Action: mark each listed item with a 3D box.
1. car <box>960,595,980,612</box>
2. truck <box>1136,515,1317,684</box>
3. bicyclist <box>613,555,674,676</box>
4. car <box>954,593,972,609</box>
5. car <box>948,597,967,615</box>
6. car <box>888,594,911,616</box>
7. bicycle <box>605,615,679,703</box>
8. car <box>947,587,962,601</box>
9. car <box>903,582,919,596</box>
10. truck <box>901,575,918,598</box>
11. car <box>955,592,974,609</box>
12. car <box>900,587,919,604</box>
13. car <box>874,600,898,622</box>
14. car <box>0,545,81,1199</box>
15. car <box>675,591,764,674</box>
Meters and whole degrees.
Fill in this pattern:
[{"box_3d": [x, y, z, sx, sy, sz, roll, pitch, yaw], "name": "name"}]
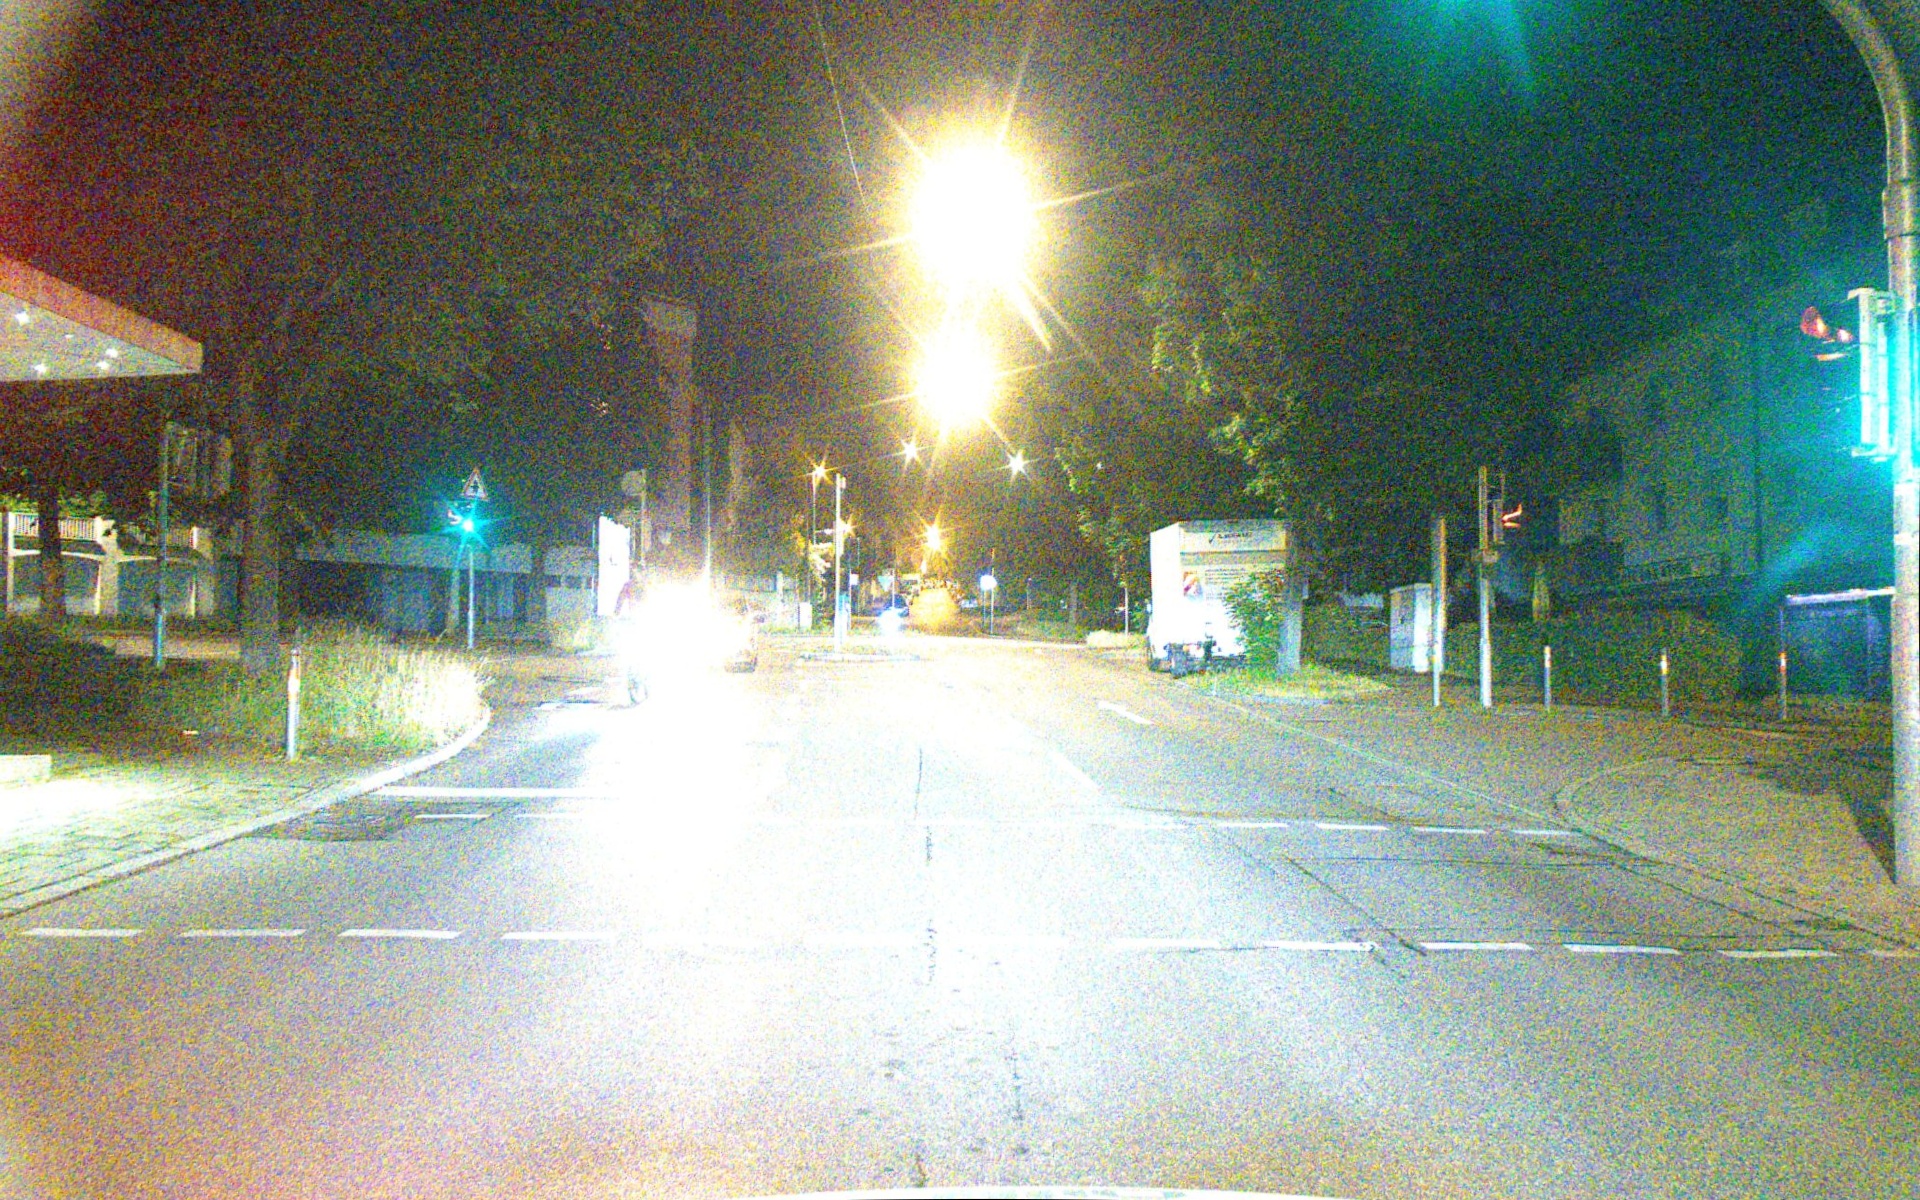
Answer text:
[{"box_3d": [0.876, 0.292, 143.358, 1.601, 1.477, 3.484, 1, 0, -1], "name": "car"}, {"box_3d": [5.416, -0.009, 34.662, 2.693, 3.165, 6.257, 1, 0, 0], "name": "truck"}, {"box_3d": [-4.461, 0.219, 23.366, 0.676, 1.666, 0.896, 1, -1, -1], "name": "bicyclist"}, {"box_3d": [0.259, 0.100, 159.270, 1.601, 1.477, 3.484, 1, 0, -1], "name": "car"}, {"box_3d": [-0.227, 0.478, 137.699, 1.561, 1.502, 3.653, 1, 0, -1], "name": "car"}, {"box_3d": [-4.898, 0.369, 134.355, 1.778, 1.713, 3.999, 1, 0, -1], "name": "car"}, {"box_3d": [-4.461, 0.803, 23.302, 0.682, 1.169, 1.950, 1, 0, -1], "name": "bicycle"}, {"box_3d": [-0.654, -0.690, 191.471, 1.601, 1.477, 3.484, 1, 0, -1], "name": "car"}, {"box_3d": [-5.534, -1.204, 186.873, 1.779, 1.517, 3.998, 1, 0, -2], "name": "car"}, {"box_3d": [-6.436, -1.706, 209.497, 2.044, 2.897, 5.828, 1, 0, -2], "name": "truck"}, {"box_3d": [0.414, 0.065, 153.088, 1.601, 1.477, 3.484, 1, 0, -1], "name": "car"}, {"box_3d": [-4.879, -0.436, 160.489, 1.779, 1.517, 3.998, 1, 0, -2], "name": "car"}, {"box_3d": [-5.265, 0.758, 118.122, 1.601, 1.477, 3.484, 1, 0, -1], "name": "car"}, {"box_3d": [-2.480, 0.677, 0.924, 1.819, 1.561, 4.027, 1, 0, 0], "name": "car"}, {"box_3d": [-4.717, 0.603, 32.769, 1.551, 1.528, 3.392, 1, 0, -6], "name": "car"}]
